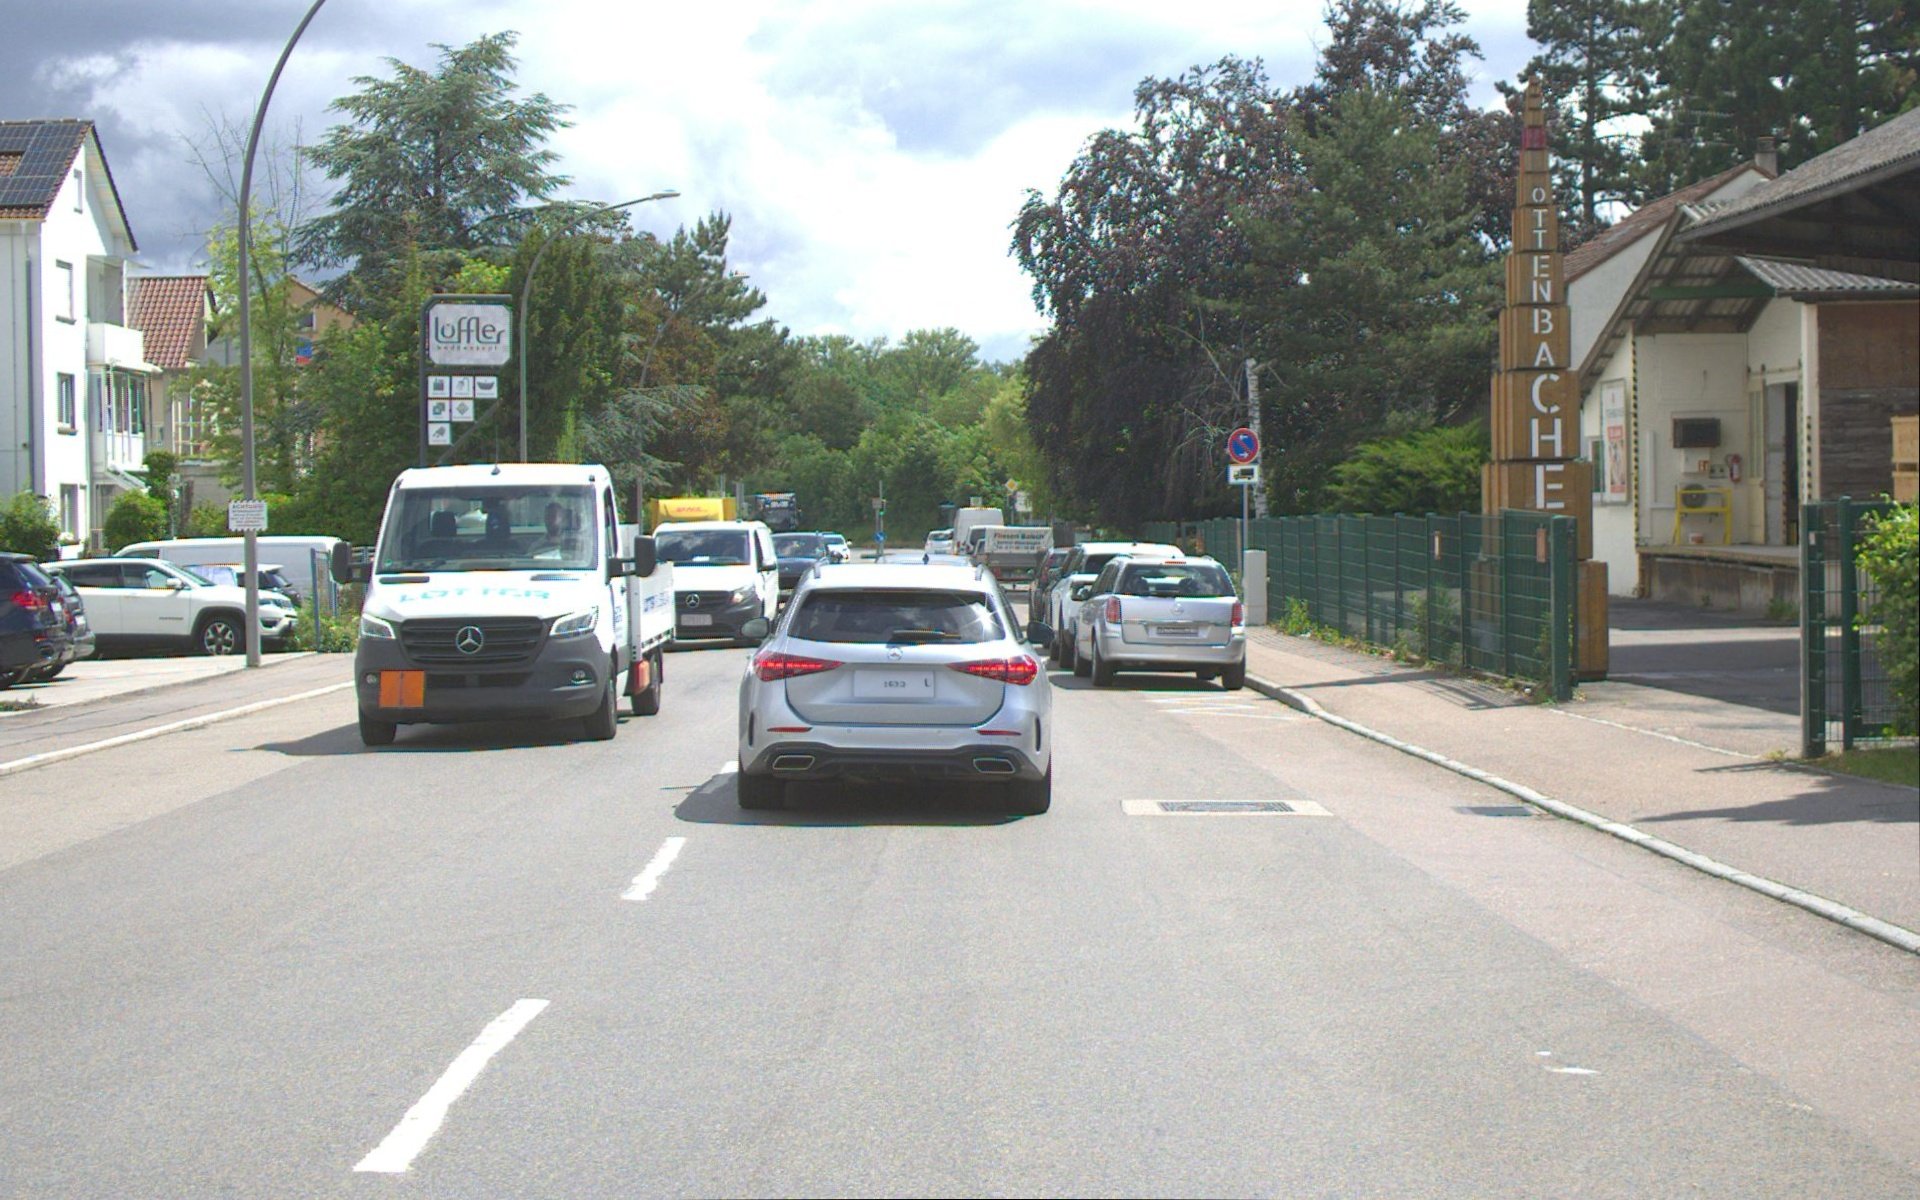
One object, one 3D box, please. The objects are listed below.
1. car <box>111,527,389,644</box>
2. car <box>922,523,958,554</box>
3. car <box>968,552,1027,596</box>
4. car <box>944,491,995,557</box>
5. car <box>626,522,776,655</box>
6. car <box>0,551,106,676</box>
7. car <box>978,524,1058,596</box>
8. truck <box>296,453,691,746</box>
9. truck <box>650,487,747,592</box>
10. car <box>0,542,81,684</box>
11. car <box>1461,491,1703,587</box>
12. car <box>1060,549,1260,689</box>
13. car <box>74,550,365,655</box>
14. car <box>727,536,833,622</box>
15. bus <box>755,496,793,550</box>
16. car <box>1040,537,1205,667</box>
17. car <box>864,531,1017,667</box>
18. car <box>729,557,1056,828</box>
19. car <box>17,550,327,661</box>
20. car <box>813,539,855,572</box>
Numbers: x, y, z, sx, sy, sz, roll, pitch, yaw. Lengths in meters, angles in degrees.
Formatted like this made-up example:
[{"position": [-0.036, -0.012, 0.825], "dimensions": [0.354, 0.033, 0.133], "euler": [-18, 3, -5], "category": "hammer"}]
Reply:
[{"position": [-11.915, -0.223, 57.885], "dimensions": [4.279, 1.830, 1.991], "euler": [-1, -2, -2], "category": "car"}, {"position": [-1.034, -3.121, 174.319], "dimensions": [1.755, 1.553, 4.001], "euler": [0, 1, -1], "category": "car"}, {"position": [1.289, -0.914, 118.623], "dimensions": [1.784, 1.479, 4.317], "euler": [1, 1, -3], "category": "car"}, {"position": [0.357, -2.978, 135.805], "dimensions": [1.784, 2.510, 4.317], "euler": [1, 0, -3], "category": "car"}, {"position": [-3.883, -0.220, 52.293], "dimensions": [1.993, 1.882, 5.117], "euler": [-1, 1, -1], "category": "car"}, {"position": [-13.455, 0.262, 44.209], "dimensions": [4.460, 1.500, 1.826], "euler": [-4, 2, -4], "category": "car"}, {"position": [1.644, -1.155, 98.565], "dimensions": [2.144, 1.977, 5.261], "euler": [-1, 1, 0], "category": "car"}, {"position": [-3.799, -0.073, 29.372], "dimensions": [2.319, 2.171, 6.449], "euler": [-1, 1, 1], "category": "truck"}, {"position": [-7.328, -1.726, 96.905], "dimensions": [2.075, 2.804, 7.078], "euler": [-2, 1, 0], "category": "truck"}, {"position": [-13.273, 0.263, 41.728], "dimensions": [4.626, 1.627, 2.198], "euler": [-4, 2, -4], "category": "car"}, {"position": [13.829, -1.370, 76.678], "dimensions": [5.017, 1.922, 2.000], "euler": [-2, 1, 3], "category": "car"}, {"position": [2.245, 0.172, 39.683], "dimensions": [1.791, 1.445, 4.364], "euler": [-2, 1, -3], "category": "car"}, {"position": [-11.872, 0.049, 55.350], "dimensions": [4.279, 1.561, 1.991], "euler": [-1, -2, -2], "category": "car"}, {"position": [-3.884, -0.486, 74.939], "dimensions": [1.993, 1.727, 4.548], "euler": [-1, 1, 1], "category": "car"}, {"position": [-12.075, -5.006, 223.043], "dimensions": [1.993, 3.352, 6.984], "euler": [2, 1, -6], "category": "bus"}, {"position": [2.083, -0.021, 45.173], "dimensions": [1.791, 1.546, 4.574], "euler": [-2, 1, -1], "category": "car"}, {"position": [-0.280, -0.051, 41.782], "dimensions": [1.755, 1.553, 4.001], "euler": [0, 1, -2], "category": "car"}, {"position": [-0.469, 0.490, 21.122], "dimensions": [1.784, 1.479, 4.317], "euler": [1, 1, -3], "category": "car"}, {"position": [-11.999, 0.095, 52.560], "dimensions": [4.279, 1.561, 1.991], "euler": [-1, -2, 0], "category": "car"}, {"position": [-6.118, -2.168, 167.103], "dimensions": [1.934, 1.487, 4.364], "euler": [-1, 1, -1], "category": "car"}]
